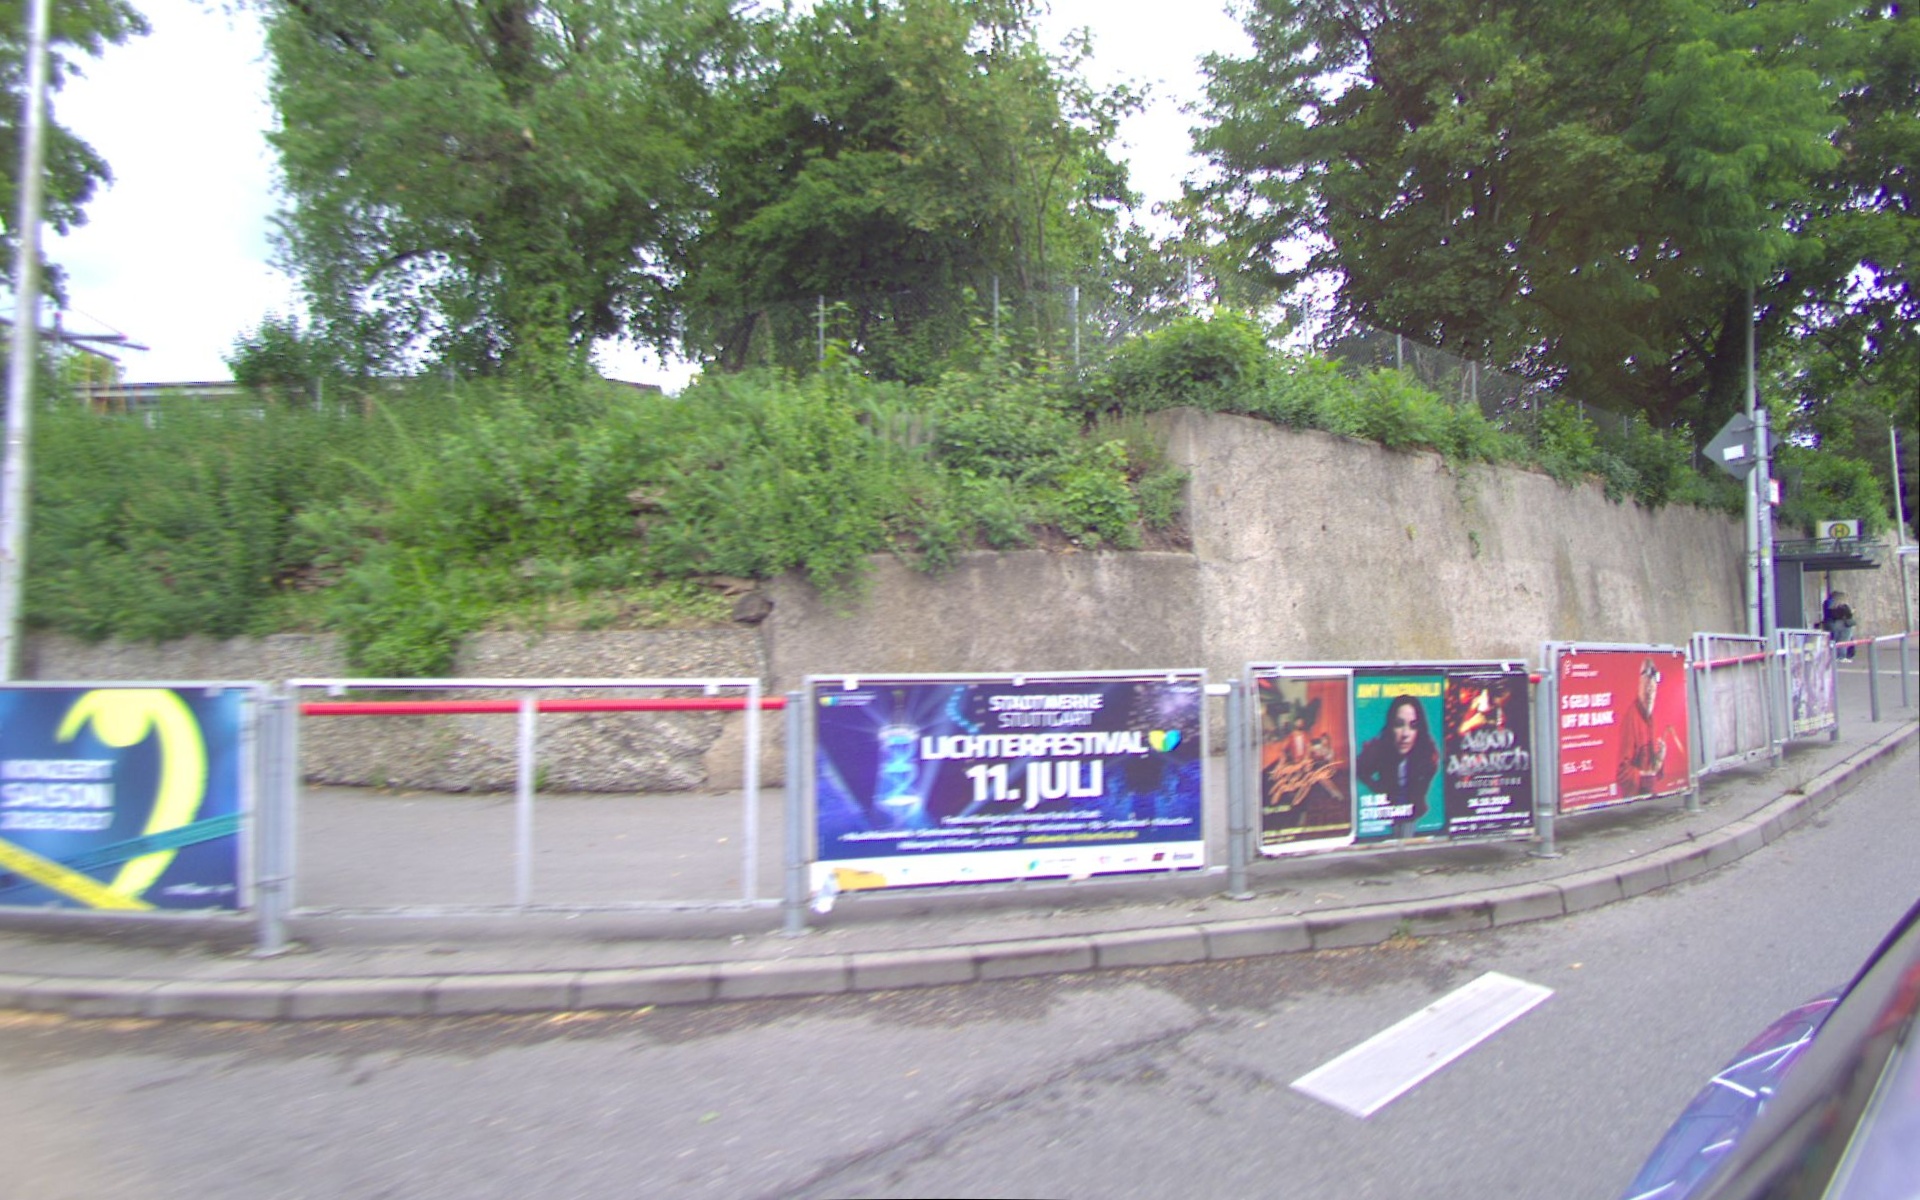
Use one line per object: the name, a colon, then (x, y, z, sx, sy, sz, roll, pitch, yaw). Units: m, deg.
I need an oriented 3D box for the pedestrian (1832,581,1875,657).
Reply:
pedestrian: (20.185, 0.416, 22.873, 0.716, 1.661, 0.730, 0, 0, 41)
